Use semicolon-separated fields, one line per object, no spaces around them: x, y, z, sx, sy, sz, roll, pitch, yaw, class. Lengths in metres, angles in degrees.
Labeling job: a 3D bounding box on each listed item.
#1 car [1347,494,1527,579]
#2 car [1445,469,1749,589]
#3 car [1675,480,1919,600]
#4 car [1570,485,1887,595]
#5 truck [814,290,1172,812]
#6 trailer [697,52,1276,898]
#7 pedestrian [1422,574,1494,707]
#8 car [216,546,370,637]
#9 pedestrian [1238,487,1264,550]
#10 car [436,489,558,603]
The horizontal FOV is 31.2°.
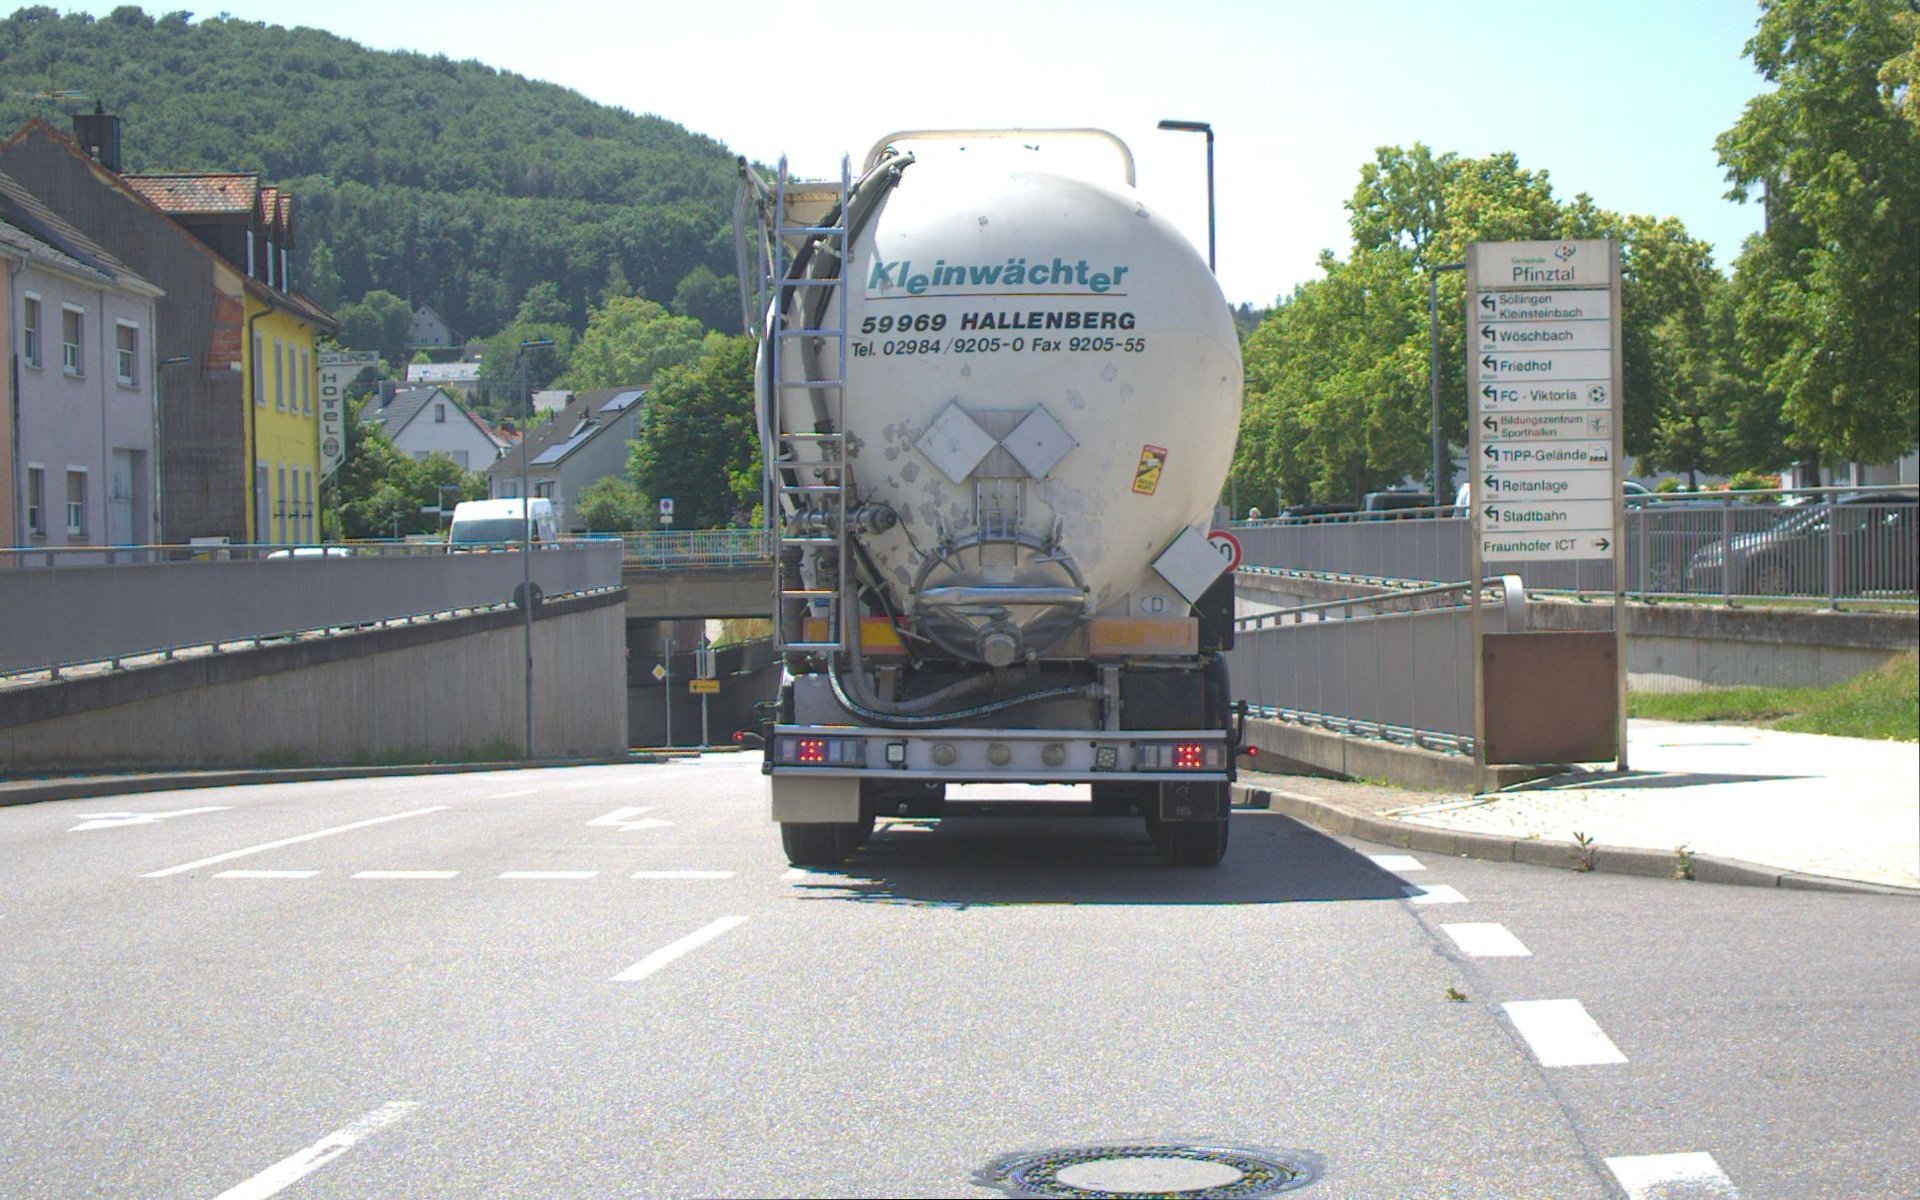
10.946;-1.457;79.121;3.906;1.879;1.686;-1;1;1;car
11.471;-1.283;62.155;5.112;2.056;1.989;-1;1;1;car
11.501;-0.794;44.856;3.987;1.493;1.748;-1;1;1;car
11.093;-0.865;49.801;4.204;1.493;1.686;-1;1;1;car
0.303;-0.314;30.224;2.735;4.051;6.528;-1;-1;1;truck
0.217;-0.463;23.296;2.735;4.051;13.311;-1;-1;1;trailer
6.783;0.559;46.847;0.836;1.776;0.788;-1;-2;0;pedestrian
-11.336;-0.179;58.664;1.813;1.457;4.310;1;1;-1;car
8.184;-2.286;96.577;0.673;1.773;0.594;-1;0;2;pedestrian
-10.691;-1.247;79.801;2.065;2.528;5.661;1;1;0;car
